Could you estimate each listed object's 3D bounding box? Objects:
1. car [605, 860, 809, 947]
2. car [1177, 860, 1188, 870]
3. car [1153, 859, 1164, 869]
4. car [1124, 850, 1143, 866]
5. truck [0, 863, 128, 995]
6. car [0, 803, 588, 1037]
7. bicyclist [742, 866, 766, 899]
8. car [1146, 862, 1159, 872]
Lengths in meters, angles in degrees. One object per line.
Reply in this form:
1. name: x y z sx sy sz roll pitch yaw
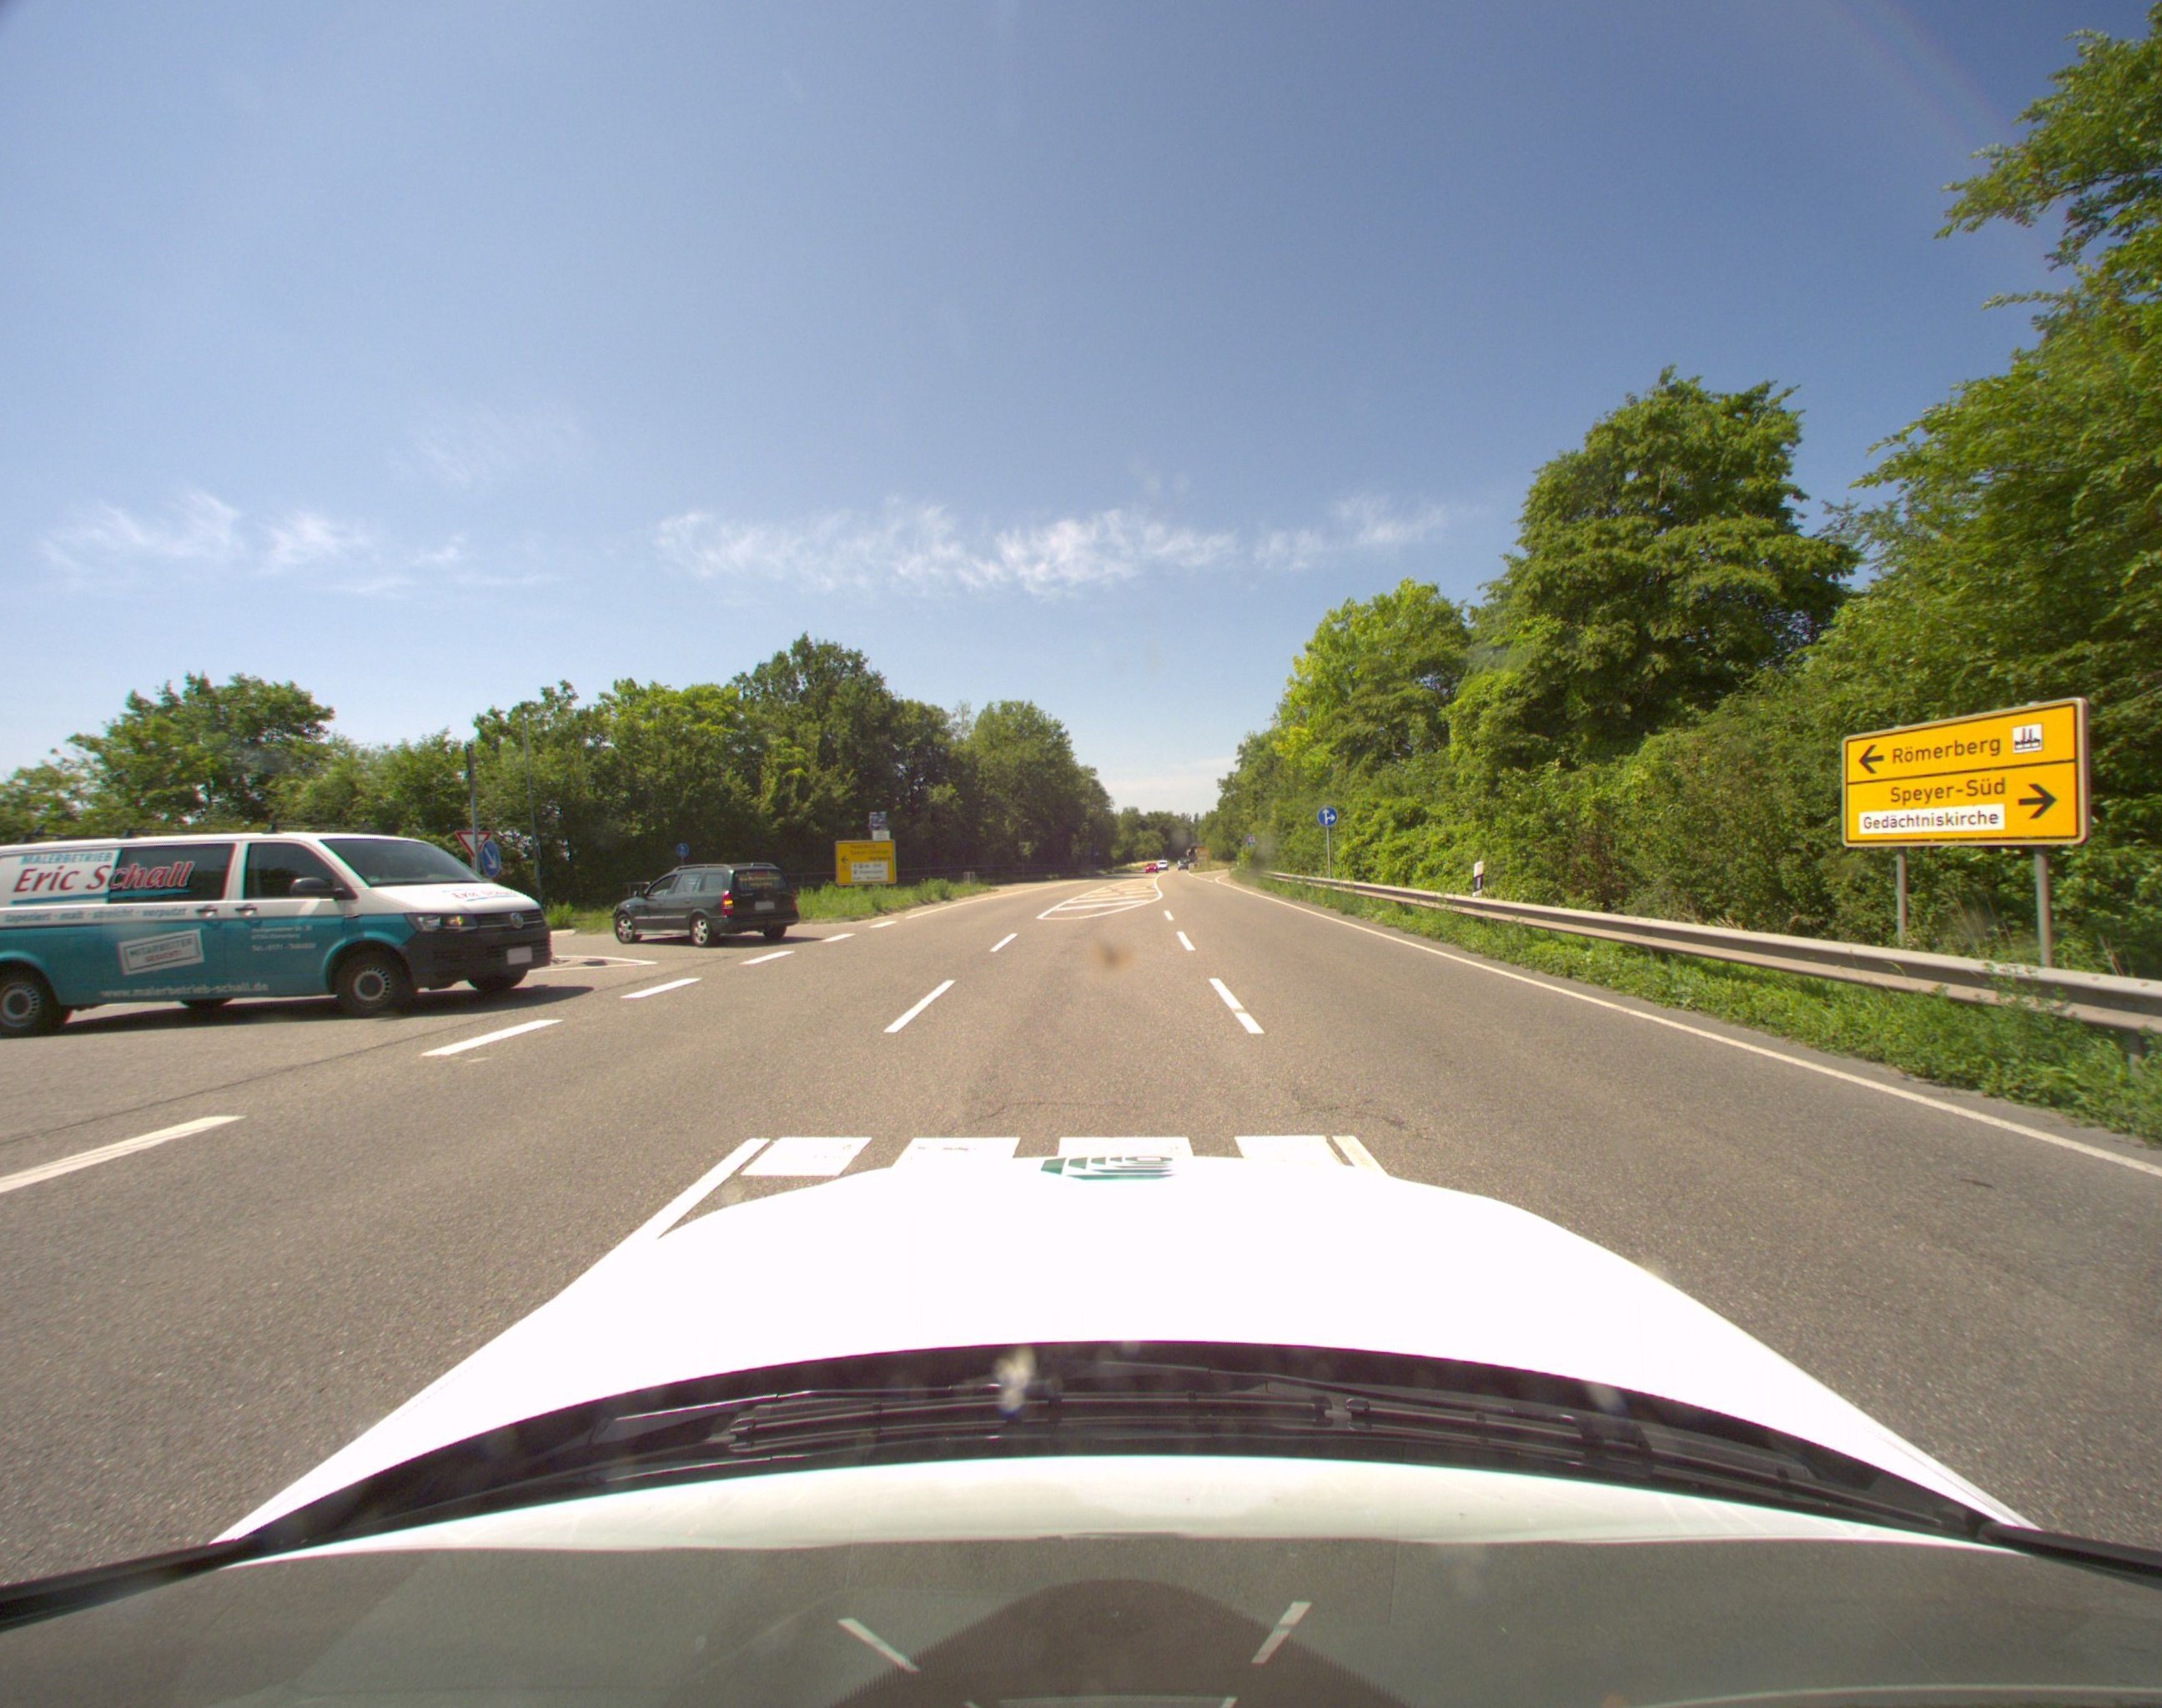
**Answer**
1. car: -7.256 0.936 15.723 3.748 1.457 1.737 -3 -1 31
2. car: 17.888 1.881 143.238 1.834 1.684 4.006 -1 0 5
3. car: 13.833 1.764 145.277 1.984 1.730 4.281 -2 0 6
4. car: 11.408 0.908 178.740 2.004 3.226 4.767 -2 0 -26
5. truck: -24.405 1.675 16.949 6.593 2.565 2.146 -4 -1 1
6. car: -8.675 0.661 8.962 5.154 2.027 2.000 -3 0 0
7. bicyclist: -13.581 1.184 33.845 0.601 1.363 0.694 -2 -1 38
8. car: 10.195 1.852 116.072 1.800 1.458 3.765 -1 0 7
